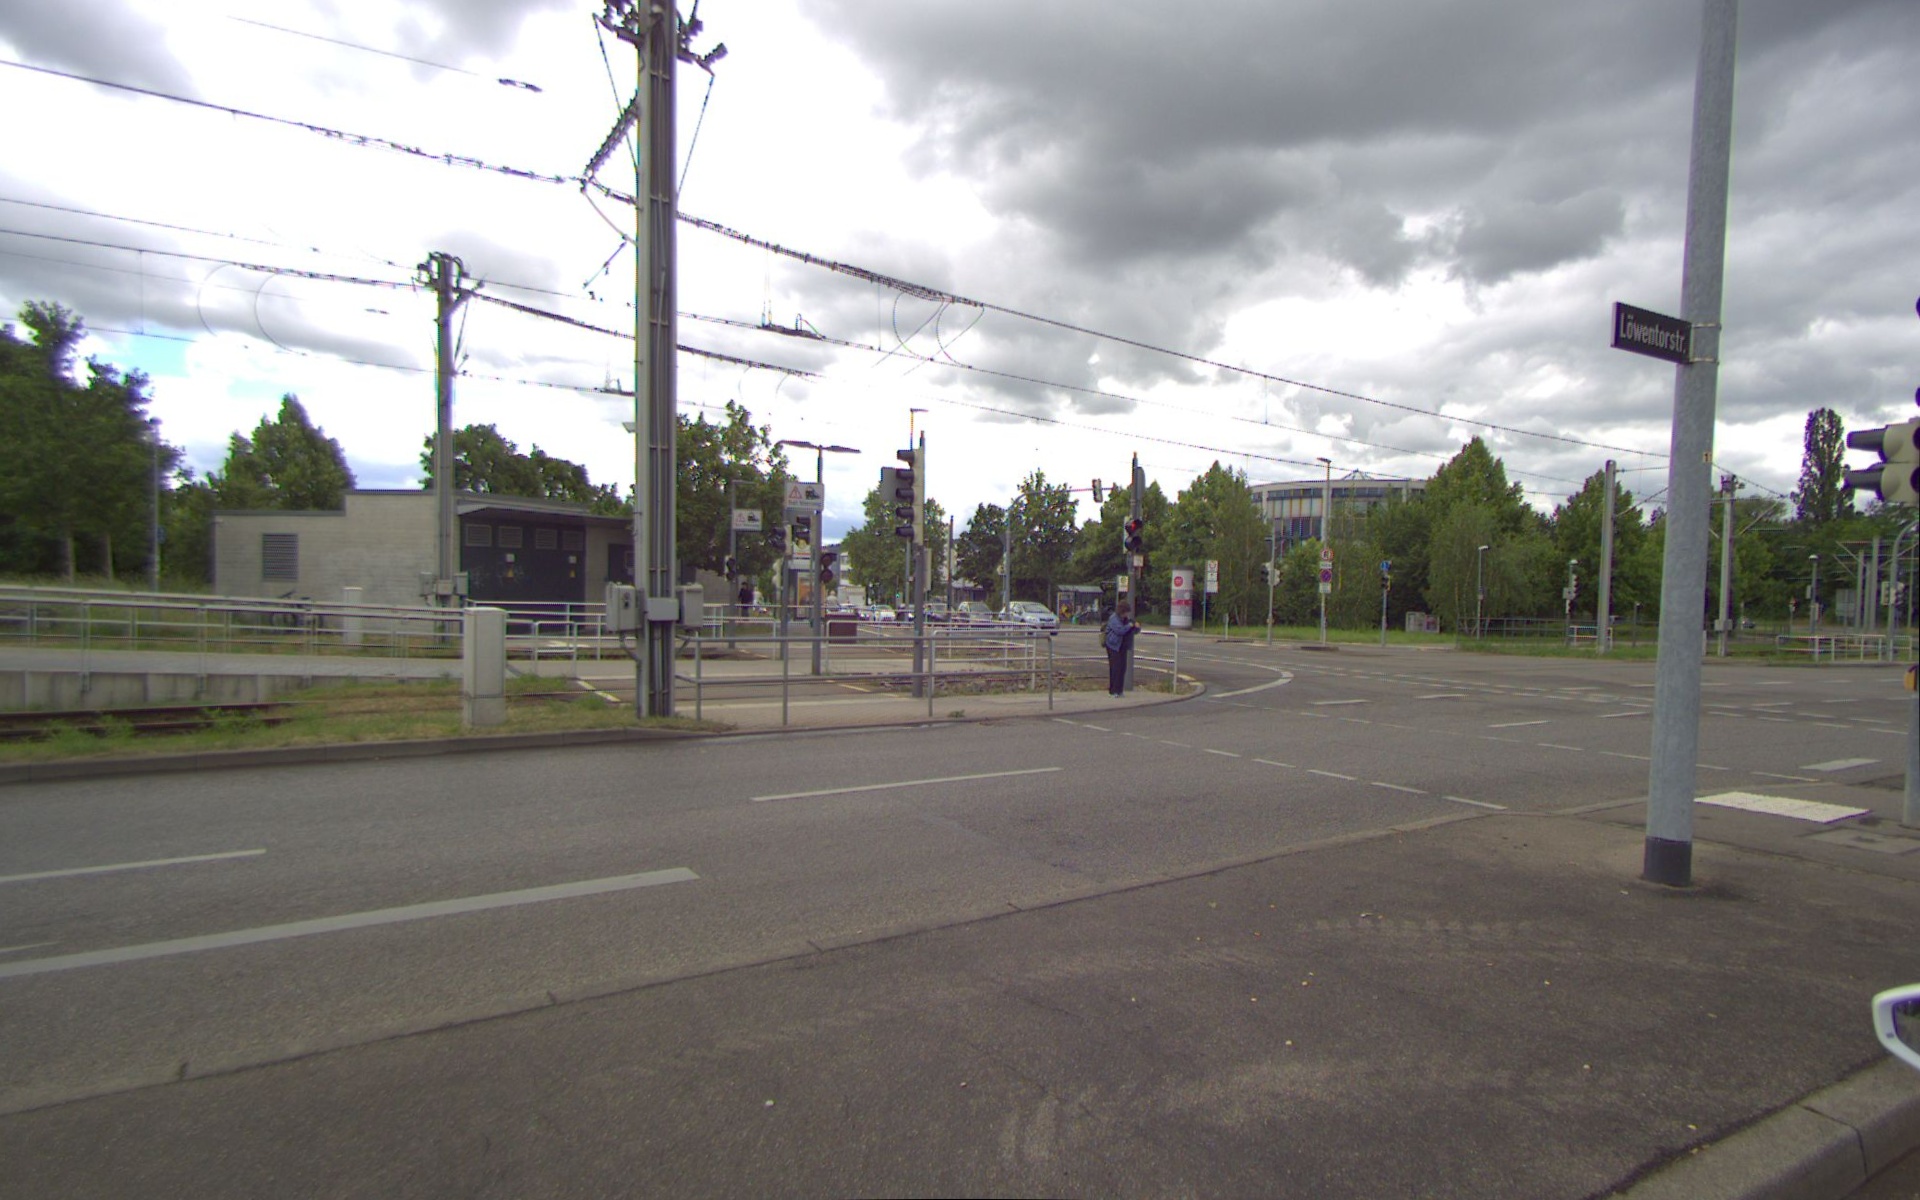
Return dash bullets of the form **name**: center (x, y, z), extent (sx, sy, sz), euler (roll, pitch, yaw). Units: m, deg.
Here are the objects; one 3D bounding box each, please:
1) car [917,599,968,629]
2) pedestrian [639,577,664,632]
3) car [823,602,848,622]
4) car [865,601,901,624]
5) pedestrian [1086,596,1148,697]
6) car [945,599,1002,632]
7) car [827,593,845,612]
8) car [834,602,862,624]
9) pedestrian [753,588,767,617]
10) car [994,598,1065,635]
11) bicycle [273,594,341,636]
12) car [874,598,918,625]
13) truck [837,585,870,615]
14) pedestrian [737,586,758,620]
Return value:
- **car**: center (-1.064, 0.761, 58.038), extent (1.776, 1.617, 3.982), euler (2, 0, -20)
- **pedestrian**: center (-10.070, 0.139, 32.783), extent (0.700, 1.751, 0.674), euler (2, 0, -19)
- **car**: center (-11.694, 1.108, 94.093), extent (1.869, 1.805, 3.990), euler (1, 0, -13)
- **car**: center (-5.765, 0.925, 74.898), extent (1.775, 1.617, 3.985), euler (2, 0, -17)
- **pedestrian**: center (2.511, 0.731, 16.078), extent (0.712, 1.557, 0.630), euler (2, 0, -33)
- **car**: center (0.667, 0.794, 53.865), extent (1.776, 1.617, 3.982), euler (2, 0, -20)
- **car**: center (-14.618, 0.289, 118.108), extent (1.964, 2.218, 5.800), euler (1, 0, -9)
- **car**: center (-9.727, 1.133, 86.806), extent (1.869, 1.805, 3.988), euler (1, 0, -14)
- **pedestrian**: center (-11.057, 0.145, 55.434), extent (0.633, 1.557, 0.521), euler (2, 0, -2)
- **car**: center (3.197, 0.733, 46.898), extent (1.848, 1.617, 3.982), euler (2, 0, -20)
- **bicycle**: center (-17.364, 0.395, 26.708), extent (1.778, 1.045, 0.536), euler (2, 0, 21)
- **car**: center (-4.150, 0.697, 64.575), extent (1.776, 1.617, 3.982), euler (2, 0, -20)
- **truck**: center (-13.598, -0.014, 127.565), extent (2.965, 3.580, 9.258), euler (1, 0, -13)
- **pedestrian**: center (-8.549, 0.124, 40.422), extent (0.590, 1.377, 0.616), euler (2, 0, 18)
